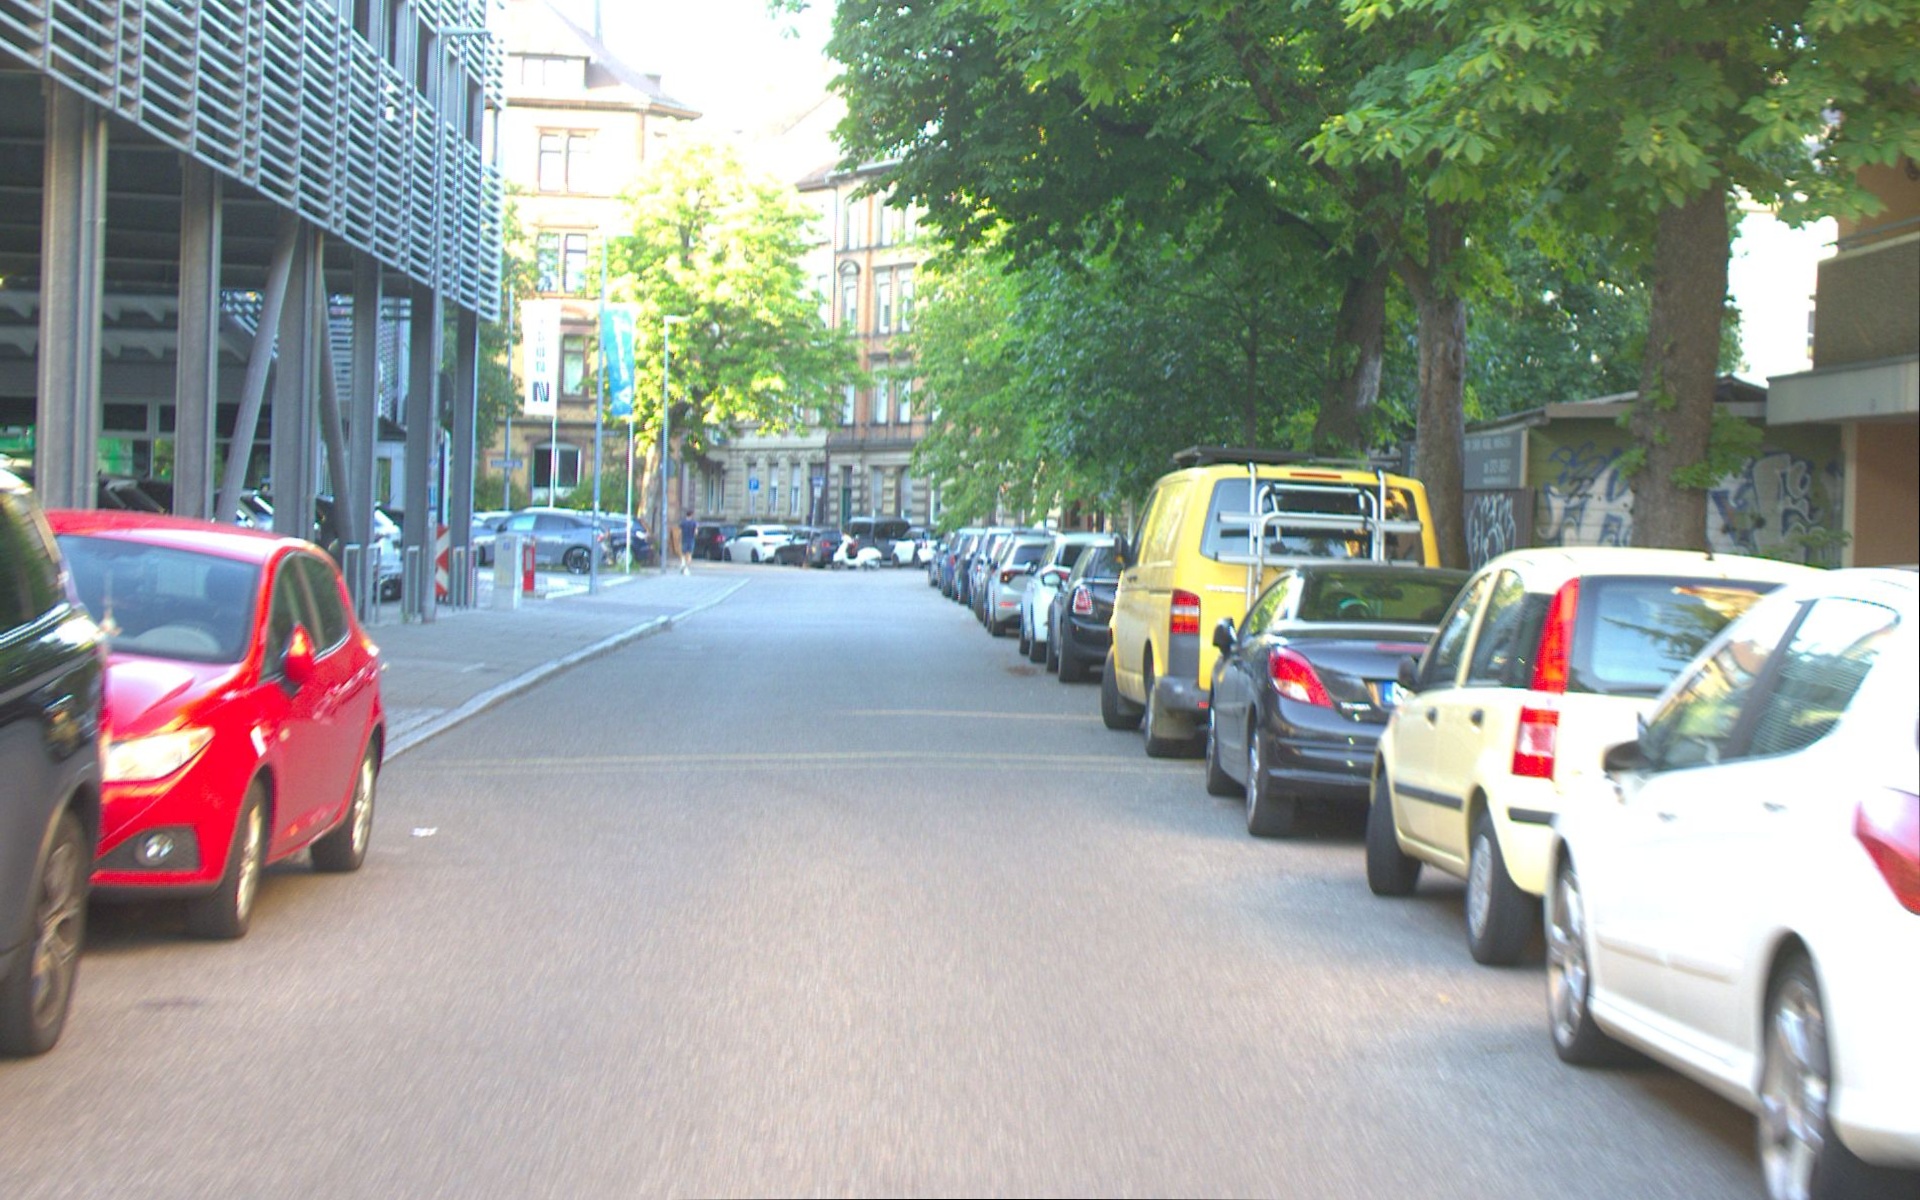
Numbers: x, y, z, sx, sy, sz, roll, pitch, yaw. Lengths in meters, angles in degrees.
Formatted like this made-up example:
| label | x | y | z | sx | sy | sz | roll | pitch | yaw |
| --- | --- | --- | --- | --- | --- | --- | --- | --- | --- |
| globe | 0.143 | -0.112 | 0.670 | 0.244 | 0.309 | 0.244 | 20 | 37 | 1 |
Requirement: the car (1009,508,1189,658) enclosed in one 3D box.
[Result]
| label | x | y | z | sx | sy | sz | roll | pitch | yaw |
| --- | --- | --- | --- | --- | --- | --- | --- | --- | --- |
| car | 1.551 | -0.236 | 39.571 | 1.722 | 1.514 | 4.026 | 2 | 2 | -2 |

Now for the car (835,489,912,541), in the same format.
| label | x | y | z | sx | sy | sz | roll | pitch | yaw |
| --- | --- | --- | --- | --- | --- | --- | --- | --- | --- |
| car | -3.188 | -3.131 | 126.830 | 1.674 | 1.776 | 3.016 | 1 | 2 | -26 |

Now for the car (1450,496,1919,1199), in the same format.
| label | x | y | z | sx | sy | sz | roll | pitch | yaw |
| --- | --- | --- | --- | --- | --- | --- | --- | --- | --- |
| car | 2.517 | 0.555 | 8.636 | 1.791 | 1.557 | 4.194 | 1 | 2 | -2 |

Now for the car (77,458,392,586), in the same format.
| label | x | y | z | sx | sy | sz | roll | pitch | yaw |
| --- | --- | --- | --- | --- | --- | --- | --- | --- | --- |
| car | -10.351 | -1.132 | 49.240 | 4.087 | 1.678 | 1.860 | 2 | 2 | 0 |

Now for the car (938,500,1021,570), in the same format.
| label | x | y | z | sx | sy | sz | roll | pitch | yaw |
| --- | --- | --- | --- | --- | --- | --- | --- | --- | --- |
| car | 0.414 | -1.486 | 77.414 | 1.695 | 1.471 | 4.118 | 2 | 2 | -2 |

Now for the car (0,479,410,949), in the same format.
| label | x | y | z | sx | sy | sz | roll | pitch | yaw |
| --- | --- | --- | --- | --- | --- | --- | --- | --- | --- |
| car | -3.221 | 0.314 | 13.221 | 1.697 | 1.500 | 3.791 | 1 | 2 | -2 |

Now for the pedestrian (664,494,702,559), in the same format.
| label | x | y | z | sx | sy | sz | roll | pitch | yaw |
| --- | --- | --- | --- | --- | --- | --- | --- | --- | --- |
| pedestrian | -7.885 | -2.101 | 97.952 | 0.735 | 1.797 | 1.122 | 1 | 3 | -22 |

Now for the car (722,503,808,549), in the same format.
| label | x | y | z | sx | sy | sz | roll | pitch | yaw |
| --- | --- | --- | --- | --- | --- | --- | --- | --- | --- |
| car | -6.984 | -2.658 | 122.616 | 1.654 | 1.426 | 4.168 | 2 | 3 | -24 |

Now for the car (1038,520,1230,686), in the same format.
| label | x | y | z | sx | sy | sz | roll | pitch | yaw |
| --- | --- | --- | --- | --- | --- | --- | --- | --- | --- |
| car | 1.684 | -0.009 | 34.204 | 1.563 | 1.445 | 3.454 | 2 | 2 | -2 |

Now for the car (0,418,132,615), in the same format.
| label | x | y | z | sx | sy | sz | roll | pitch | yaw |
| --- | --- | --- | --- | --- | --- | --- | --- | --- | --- |
| car | -9.666 | -0.811 | 30.555 | 4.149 | 1.678 | 1.860 | 2 | 2 | 0 |

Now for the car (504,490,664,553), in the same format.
| label | x | y | z | sx | sy | sz | roll | pitch | yaw |
| --- | --- | --- | --- | --- | --- | --- | --- | --- | --- |
| car | -11.682 | -2.445 | 106.763 | 4.828 | 1.726 | 1.921 | 2 | 3 | -8 |

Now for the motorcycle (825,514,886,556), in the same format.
| label | x | y | z | sx | sy | sz | roll | pitch | yaw |
| --- | --- | --- | --- | --- | --- | --- | --- | --- | --- |
| motorcycle | -3.500 | -2.163 | 115.017 | 1.931 | 1.336 | 0.577 | 1 | 2 | -12 |

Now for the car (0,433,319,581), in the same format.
| label | x | y | z | sx | sy | sz | roll | pitch | yaw |
| --- | --- | --- | --- | --- | --- | --- | --- | --- | --- |
| car | -10.139 | -1.170 | 42.381 | 4.102 | 1.678 | 1.860 | 2 | 2 | 0 |

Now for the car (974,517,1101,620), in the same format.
| label | x | y | z | sx | sy | sz | roll | pitch | yaw |
| --- | --- | --- | --- | --- | --- | --- | --- | --- | --- |
| car | 1.201 | -0.535 | 54.915 | 1.759 | 1.449 | 4.393 | 2 | 2 | -2 |

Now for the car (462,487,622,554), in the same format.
| label | x | y | z | sx | sy | sz | roll | pitch | yaw |
| --- | --- | --- | --- | --- | --- | --- | --- | --- | --- |
| car | -11.068 | -2.109 | 91.176 | 4.066 | 1.612 | 1.766 | 2 | 2 | -3 |

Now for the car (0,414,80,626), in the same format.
| label | x | y | z | sx | sy | sz | roll | pitch | yaw |
| --- | --- | --- | --- | --- | --- | --- | --- | --- | --- |
| car | -9.468 | -0.730 | 28.150 | 4.035 | 1.678 | 1.860 | 2 | 2 | 0 |

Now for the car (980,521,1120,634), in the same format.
| label | x | y | z | sx | sy | sz | roll | pitch | yaw |
| --- | --- | --- | --- | --- | --- | --- | --- | --- | --- |
| car | 1.270 | -0.358 | 50.044 | 1.759 | 1.437 | 4.006 | 2 | 2 | -2 |

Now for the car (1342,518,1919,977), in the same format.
| label | x | y | z | sx | sy | sz | roll | pitch | yaw |
| --- | --- | --- | --- | --- | --- | --- | --- | --- | --- |
| car | 2.587 | 0.472 | 13.604 | 1.609 | 1.505 | 3.478 | 1 | 2 | -2 |

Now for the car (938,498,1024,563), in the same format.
| label | x | y | z | sx | sy | sz | roll | pitch | yaw |
| --- | --- | --- | --- | --- | --- | --- | --- | --- | --- |
| car | 0.486 | -1.688 | 82.372 | 1.695 | 1.471 | 3.560 | 2 | 2 | -5 |

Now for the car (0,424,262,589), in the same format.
| label | x | y | z | sx | sy | sz | roll | pitch | yaw |
| --- | --- | --- | --- | --- | --- | --- | --- | --- | --- |
| car | -9.871 | -1.060 | 37.510 | 4.102 | 1.678 | 1.860 | 2 | 2 | 0 |

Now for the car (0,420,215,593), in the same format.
| label | x | y | z | sx | sy | sz | roll | pitch | yaw |
| --- | --- | --- | --- | --- | --- | --- | --- | --- | --- |
| car | -9.904 | -1.012 | 35.277 | 4.083 | 1.678 | 1.860 | 2 | 2 | 0 |

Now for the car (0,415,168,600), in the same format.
| label | x | y | z | sx | sy | sz | roll | pitch | yaw |
| --- | --- | --- | --- | --- | --- | --- | --- | --- | --- |
| car | -9.786 | -0.941 | 32.748 | 4.025 | 1.678 | 1.860 | 2 | 2 | 0 |

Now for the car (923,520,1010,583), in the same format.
| label | x | y | z | sx | sy | sz | roll | pitch | yaw |
| --- | --- | --- | --- | --- | --- | --- | --- | --- | --- |
| car | 0.132 | -1.234 | 86.785 | 1.694 | 1.471 | 4.214 | 2 | 2 | -6 |

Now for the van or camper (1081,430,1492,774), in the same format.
| label | x | y | z | sx | sy | sz | roll | pitch | yaw |
| --- | --- | --- | --- | --- | --- | --- | --- | --- | --- |
| van or camper | 2.124 | -0.097 | 23.928 | 2.064 | 2.088 | 5.092 | 2 | 2 | -3 |

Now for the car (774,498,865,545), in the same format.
| label | x | y | z | sx | sy | sz | roll | pitch | yaw |
| --- | --- | --- | --- | --- | --- | --- | --- | --- | --- |
| car | -4.843 | -2.710 | 118.281 | 1.654 | 1.426 | 3.991 | 1 | 3 | -25 |

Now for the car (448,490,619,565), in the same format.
| label | x | y | z | sx | sy | sz | roll | pitch | yaw |
| --- | --- | --- | --- | --- | --- | --- | --- | --- | --- |
| car | -10.875 | -1.856 | 87.812 | 4.129 | 1.612 | 1.914 | 3 | 2 | -3 |

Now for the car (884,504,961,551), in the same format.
| label | x | y | z | sx | sy | sz | roll | pitch | yaw |
| --- | --- | --- | --- | --- | --- | --- | --- | --- | --- |
| car | -1.348 | -2.606 | 123.424 | 1.674 | 1.520 | 2.768 | 2 | 2 | -26 |

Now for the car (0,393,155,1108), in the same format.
| label | x | y | z | sx | sy | sz | roll | pitch | yaw |
| --- | --- | --- | --- | --- | --- | --- | --- | --- | --- |
| car | -3.164 | 0.369 | 7.911 | 1.697 | 1.750 | 4.404 | 1 | 2 | -2 |

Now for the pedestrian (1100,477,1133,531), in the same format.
| label | x | y | z | sx | sy | sz | roll | pitch | yaw |
| --- | --- | --- | --- | --- | --- | --- | --- | --- | --- |
| pedestrian | 5.368 | -3.304 | 118.012 | 0.840 | 1.797 | 0.776 | 1 | 3 | -22 |

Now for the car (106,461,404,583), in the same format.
| label | x | y | z | sx | sy | sz | roll | pitch | yaw |
| --- | --- | --- | --- | --- | --- | --- | --- | --- | --- |
| car | -10.578 | -1.197 | 51.790 | 4.079 | 1.678 | 1.860 | 2 | 2 | 0 |

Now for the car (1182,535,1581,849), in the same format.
| label | x | y | z | sx | sy | sz | roll | pitch | yaw |
| --- | --- | --- | --- | --- | --- | --- | --- | --- | --- |
| car | 2.163 | 0.408 | 18.613 | 1.606 | 1.377 | 4.001 | 2 | 2 | 0 |

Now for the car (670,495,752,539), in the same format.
| label | x | y | z | sx | sy | sz | roll | pitch | yaw |
| --- | --- | --- | --- | --- | --- | --- | --- | --- | --- |
| car | -9.209 | -3.081 | 127.048 | 1.654 | 1.426 | 3.897 | 1 | 3 | -26 |

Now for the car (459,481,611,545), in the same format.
| label | x | y | z | sx | sy | sz | roll | pitch | yaw |
| --- | --- | --- | --- | --- | --- | --- | --- | --- | --- |
| car | -11.759 | -2.421 | 95.268 | 4.044 | 1.470 | 1.921 | 3 | 2 | -5 |

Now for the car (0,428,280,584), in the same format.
| label | x | y | z | sx | sy | sz | roll | pitch | yaw |
| --- | --- | --- | --- | --- | --- | --- | --- | --- | --- |
| car | -10.139 | -1.119 | 39.884 | 4.102 | 1.678 | 1.860 | 2 | 2 | 0 |

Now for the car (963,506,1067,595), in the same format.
| label | x | y | z | sx | sy | sz | roll | pitch | yaw |
| --- | --- | --- | --- | --- | --- | --- | --- | --- | --- |
| car | 1.027 | -0.979 | 65.849 | 1.759 | 1.598 | 3.874 | 2 | 2 | -2 |

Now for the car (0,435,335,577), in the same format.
| label | x | y | z | sx | sy | sz | roll | pitch | yaw |
| --- | --- | --- | --- | --- | --- | --- | --- | --- | --- |
| car | -10.303 | -1.236 | 44.522 | 4.064 | 1.678 | 1.860 | 2 | 2 | 0 |

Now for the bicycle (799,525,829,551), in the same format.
| label | x | y | z | sx | sy | sz | roll | pitch | yaw |
| --- | --- | --- | --- | --- | --- | --- | --- | --- | --- |
| bicycle | -4.793 | -2.039 | 112.876 | 0.425 | 0.819 | 1.461 | 3 | 3 | 20 |
